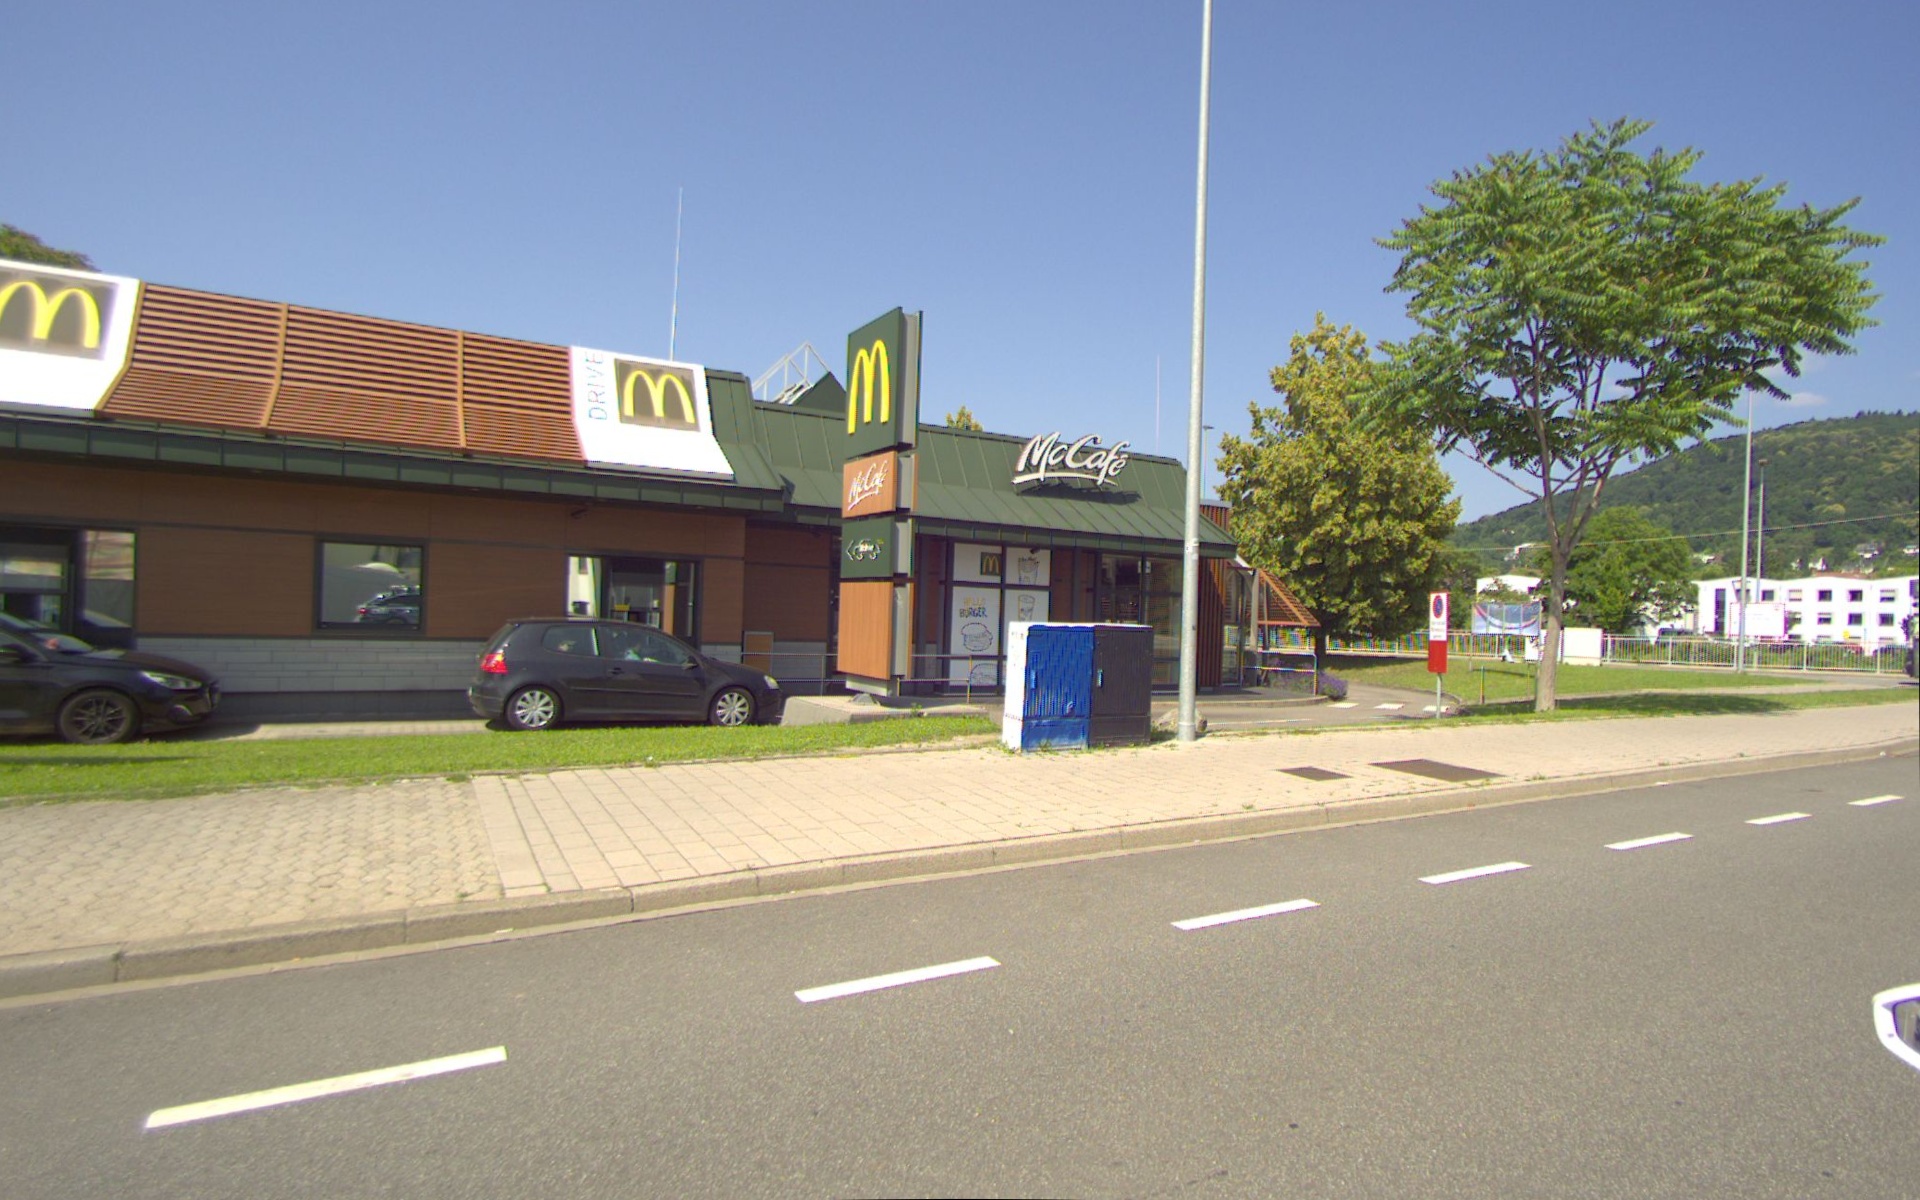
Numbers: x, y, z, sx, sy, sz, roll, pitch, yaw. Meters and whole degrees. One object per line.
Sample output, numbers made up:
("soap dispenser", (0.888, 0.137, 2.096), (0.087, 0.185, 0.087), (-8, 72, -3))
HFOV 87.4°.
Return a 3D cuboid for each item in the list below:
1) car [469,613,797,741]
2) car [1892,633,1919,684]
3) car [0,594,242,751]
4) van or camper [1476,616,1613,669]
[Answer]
("car", (-4.554, 0.993, 14.006), (4.077, 1.435, 1.985), (1, 2, -28))
("car", (32.992, 1.943, 32.330), (1.986, 1.613, 4.274), (1, -1, -43))
("car", (-10.406, 0.731, 10.746), (4.272, 1.496, 1.817), (1, 2, -32))
("van or camper", (21.389, 1.500, 36.836), (3.944, 1.595, 1.988), (4, 3, 43))
